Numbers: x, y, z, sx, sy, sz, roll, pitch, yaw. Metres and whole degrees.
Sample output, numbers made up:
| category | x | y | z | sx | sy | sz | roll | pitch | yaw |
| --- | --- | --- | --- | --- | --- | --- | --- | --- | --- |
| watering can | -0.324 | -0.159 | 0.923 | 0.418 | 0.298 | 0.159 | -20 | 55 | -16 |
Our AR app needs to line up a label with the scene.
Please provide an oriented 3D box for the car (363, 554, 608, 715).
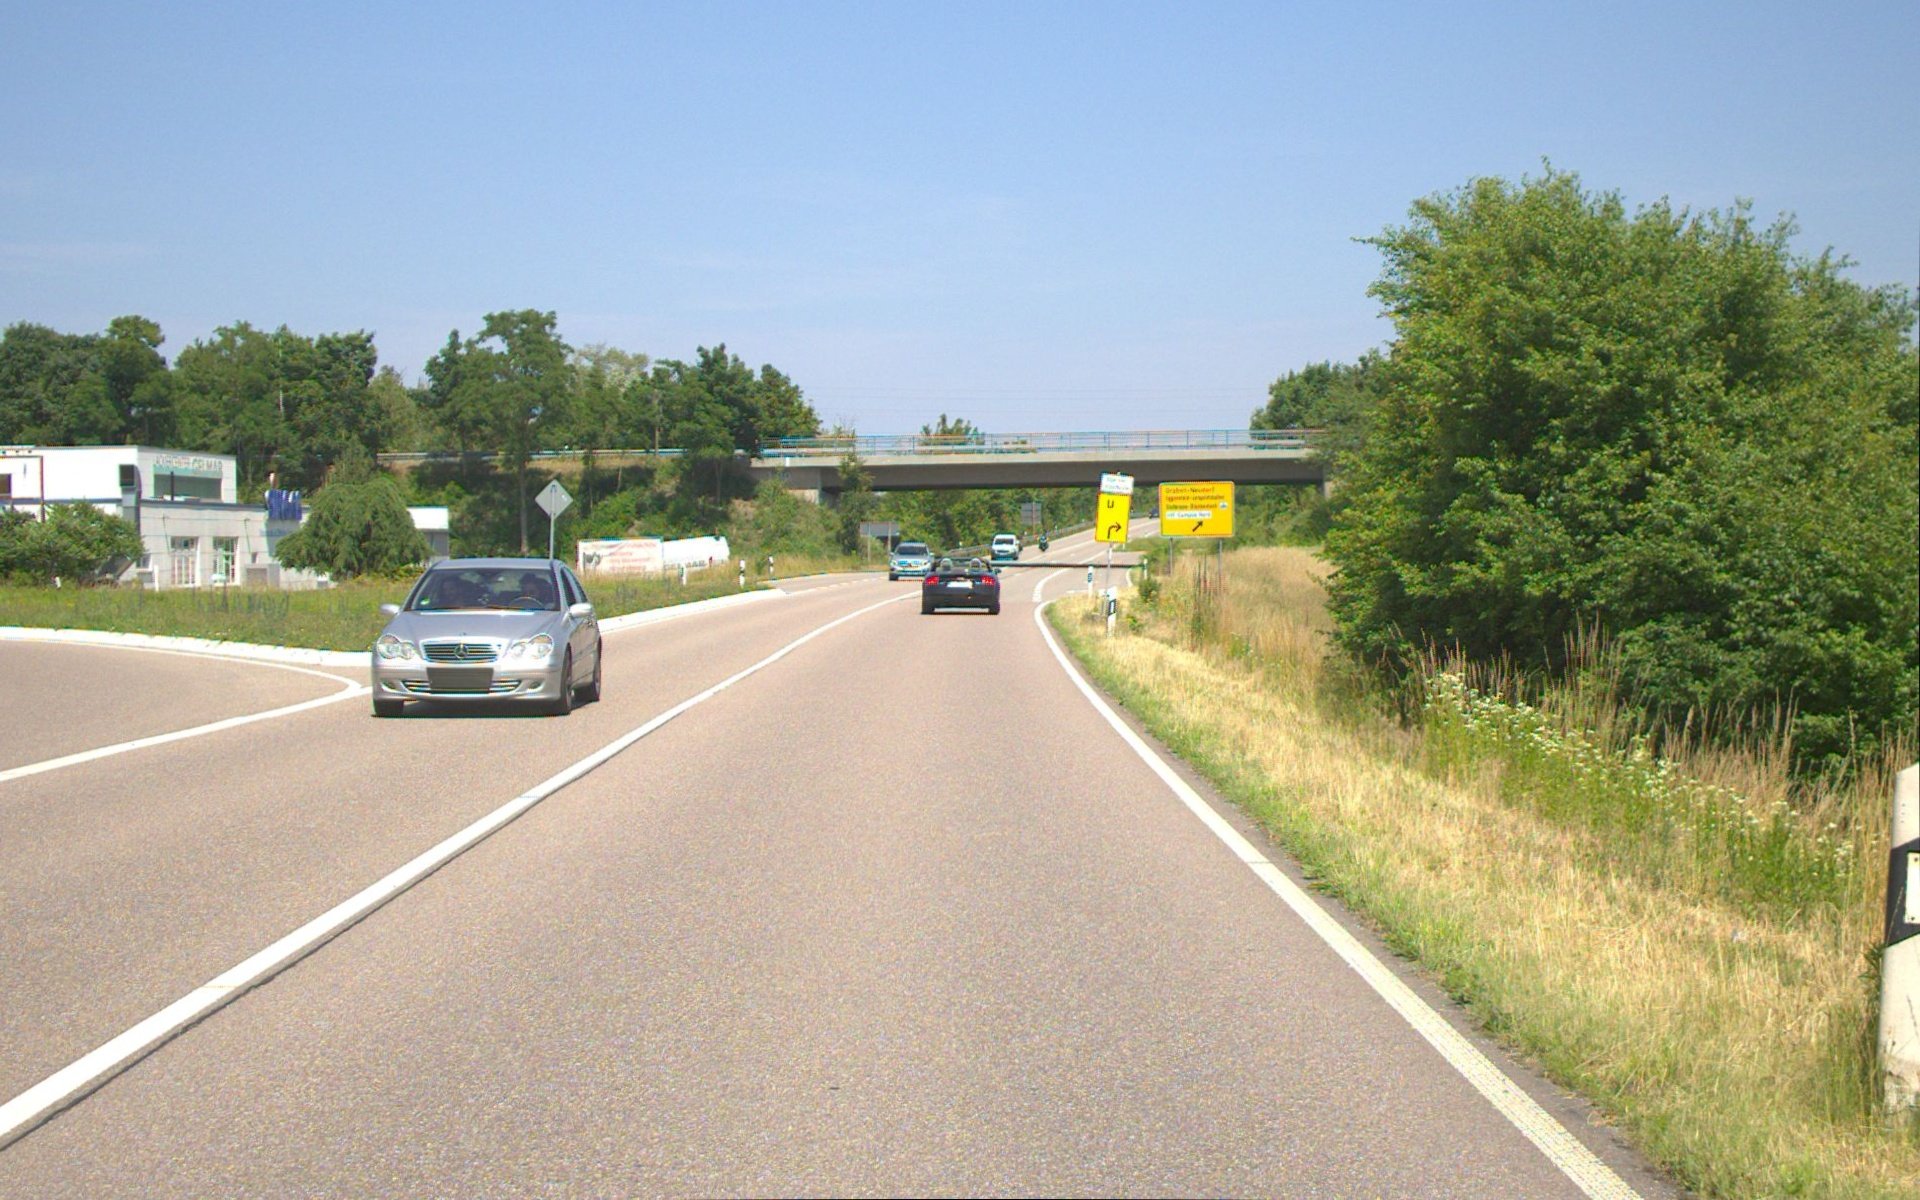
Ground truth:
| category | x | y | z | sx | sy | sz | roll | pitch | yaw |
| --- | --- | --- | --- | --- | --- | --- | --- | --- | --- |
| car | -4.390 | 0.274 | 32.381 | 1.731 | 1.386 | 4.492 | 1 | 1 | -1 |

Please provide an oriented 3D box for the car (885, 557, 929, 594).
| category | x | y | z | sx | sy | sz | roll | pitch | yaw |
| --- | --- | --- | --- | --- | --- | --- | --- | --- | --- |
| car | -2.305 | -1.082 | 149.362 | 1.831 | 1.562 | 3.334 | -1 | 1 | -2 |

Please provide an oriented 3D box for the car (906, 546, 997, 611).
| category | x | y | z | sx | sy | sz | roll | pitch | yaw |
| --- | --- | --- | --- | --- | --- | --- | --- | --- | --- |
| car | -0.212 | -0.509 | 78.458 | 1.814 | 1.436 | 4.001 | 1 | 1 | -4 |
